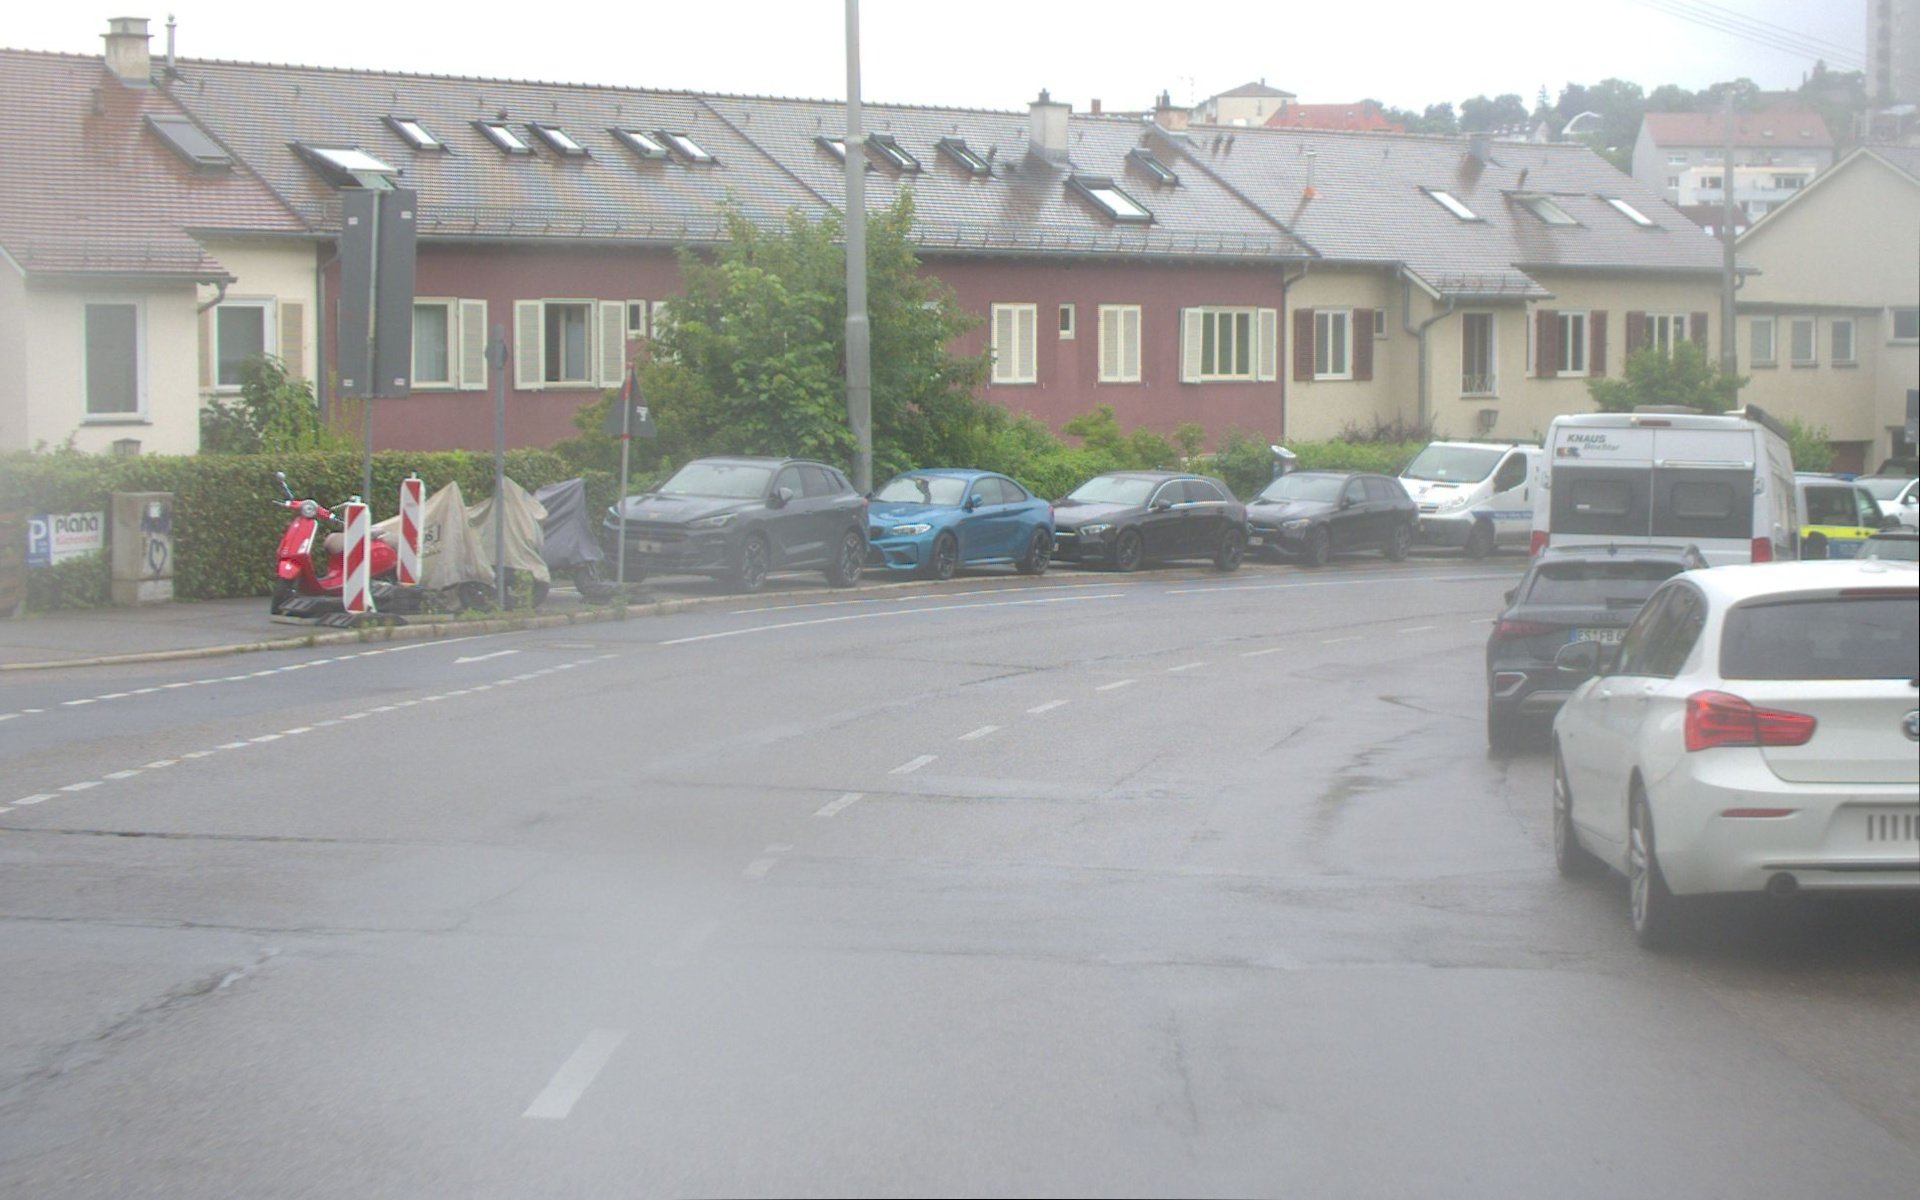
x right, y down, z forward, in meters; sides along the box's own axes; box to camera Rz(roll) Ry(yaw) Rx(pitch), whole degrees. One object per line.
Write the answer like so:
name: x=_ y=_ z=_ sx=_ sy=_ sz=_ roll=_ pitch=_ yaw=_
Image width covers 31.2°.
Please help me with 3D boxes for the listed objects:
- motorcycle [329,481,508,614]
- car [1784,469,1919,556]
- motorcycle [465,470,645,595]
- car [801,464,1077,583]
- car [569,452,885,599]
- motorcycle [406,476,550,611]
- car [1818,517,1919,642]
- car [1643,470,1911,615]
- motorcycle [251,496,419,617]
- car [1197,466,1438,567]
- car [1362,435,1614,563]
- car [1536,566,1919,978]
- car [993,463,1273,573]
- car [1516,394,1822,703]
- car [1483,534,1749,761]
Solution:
motorcycle: x=-5.610 y=-0.550 z=35.578 sx=1.804 sy=1.274 sz=0.510 roll=3 pitch=3 yaw=23
car: x=19.058 y=-1.778 z=70.424 sx=4.665 sy=1.625 sz=1.935 roll=0 pitch=5 yaw=-44
motorcycle: x=-4.469 y=-0.746 z=37.895 sx=1.900 sy=1.266 sz=0.576 roll=2 pitch=4 yaw=-8
car: x=-0.223 y=-1.072 z=46.376 sx=1.702 sy=1.399 sz=4.466 roll=5 pitch=5 yaw=28
car: x=-2.756 y=-0.949 z=41.675 sx=1.924 sy=1.571 sz=4.382 roll=5 pitch=4 yaw=24
motorcycle: x=-5.131 y=-0.612 z=36.500 sx=0.611 sy=1.298 sz=1.807 roll=0 pitch=5 yaw=-39
car: x=12.806 y=-0.283 z=44.744 sx=1.682 sy=1.478 sz=4.193 roll=5 pitch=4 yaw=35
car: x=12.073 y=-0.877 z=50.632 sx=2.313 sy=1.932 sz=4.316 roll=4 pitch=4 yaw=35
motorcycle: x=-6.160 y=-0.445 z=33.976 sx=0.510 sy=1.136 sz=1.919 roll=1 pitch=3 yaw=29
car: x=5.824 y=-1.353 z=55.590 sx=1.812 sy=1.471 sz=4.513 roll=5 pitch=4 yaw=35
car: x=9.296 y=-1.751 z=60.256 sx=1.853 sy=2.071 sz=5.008 roll=6 pitch=4 yaw=41
car: x=3.398 y=0.575 z=13.879 sx=1.705 sy=1.409 sz=4.041 roll=0 pitch=1 yaw=4
car: x=2.616 y=-1.217 z=51.009 sx=1.812 sy=1.471 sz=4.512 roll=5 pitch=4 yaw=38
car: x=6.528 y=-0.485 z=31.149 sx=2.100 sy=2.533 sz=5.615 roll=1 pitch=1 yaw=18
car: x=4.975 y=0.280 z=25.699 sx=1.754 sy=1.490 sz=4.181 roll=1 pitch=2 yaw=13
